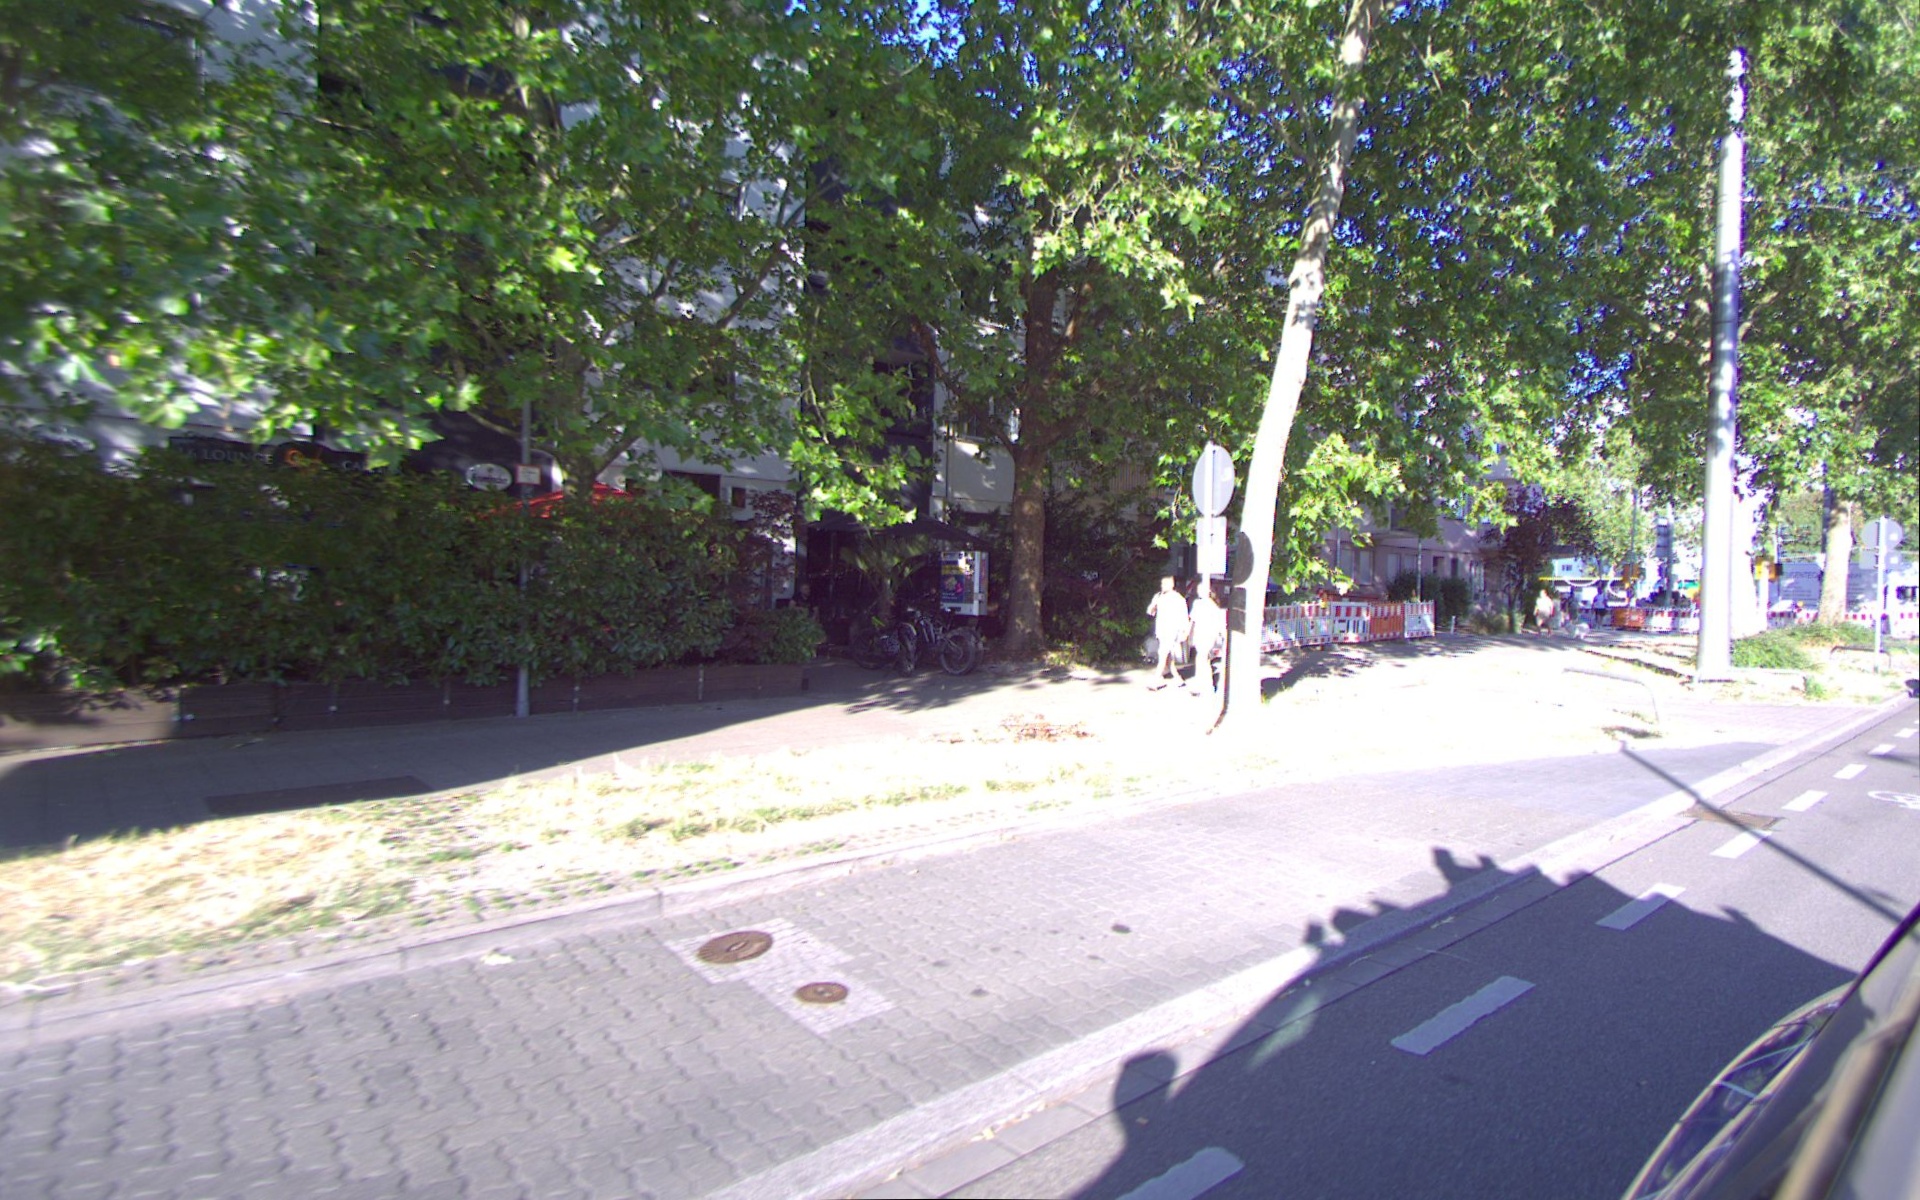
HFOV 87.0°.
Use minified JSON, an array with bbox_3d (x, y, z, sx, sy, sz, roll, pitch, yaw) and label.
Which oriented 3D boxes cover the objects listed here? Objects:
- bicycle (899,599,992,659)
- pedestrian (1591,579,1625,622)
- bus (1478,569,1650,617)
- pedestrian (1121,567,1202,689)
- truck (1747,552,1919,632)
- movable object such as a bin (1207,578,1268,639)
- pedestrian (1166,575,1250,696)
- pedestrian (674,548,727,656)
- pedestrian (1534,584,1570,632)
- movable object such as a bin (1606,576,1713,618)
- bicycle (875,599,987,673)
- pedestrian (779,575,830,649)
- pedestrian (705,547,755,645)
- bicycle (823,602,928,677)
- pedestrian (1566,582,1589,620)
[{"bbox_3d":[-0.236,0.501,18.423,0.647,0.982,1.937,2,2,36],"label":"bicycle"},{"bbox_3d":[29.639,0.022,46.324,0.825,1.893,1.098,3,-2,3],"label":"pedestrian"},{"bbox_3d":[51.309,-0.721,86.478,3.035,3.769,12.280,0,1,-42],"label":"bus"},{"bbox_3d":[2.890,0.375,14.515,0.803,1.688,0.791,0,1,-44],"label":"pedestrian"},{"bbox_3d":[43.929,-0.407,49.534,2.763,3.586,8.999,1,1,-10],"label":"truck"},{"bbox_3d":[6.833,0.188,24.981,0.822,1.452,1.301,1,1,-19],"label":"movable object such as a bin"},{"bbox_3d":[3.411,0.465,13.907,0.803,1.592,0.791,1,1,-44],"label":"pedestrian"},{"bbox_3d":[-4.691,0.031,18.273,0.688,1.896,0.741,1,1,-37],"label":"pedestrian"},{"bbox_3d":[18.892,0.237,32.294,0.803,1.493,0.791,0,1,-44],"label":"pedestrian"},{"bbox_3d":[40.011,-0.212,58.071,1.959,2.285,5.216,-1,1,-9],"label":"movable object such as a bin"},{"bbox_3d":[-0.517,0.541,16.483,0.651,1.036,2.384,0,2,-33],"label":"bicycle"},{"bbox_3d":[-3.007,0.214,19.578,0.688,1.398,0.741,1,1,-37],"label":"pedestrian"},{"bbox_3d":[-4.554,-0.091,20.023,0.688,1.896,0.740,1,1,-40],"label":"pedestrian"},{"bbox_3d":[-1.388,0.586,16.117,0.651,1.037,2.384,0,1,-32],"label":"bicycle"},{"bbox_3d":[28.631,0.054,46.938,0.573,1.730,0.679,3,-2,-5],"label":"pedestrian"}]
